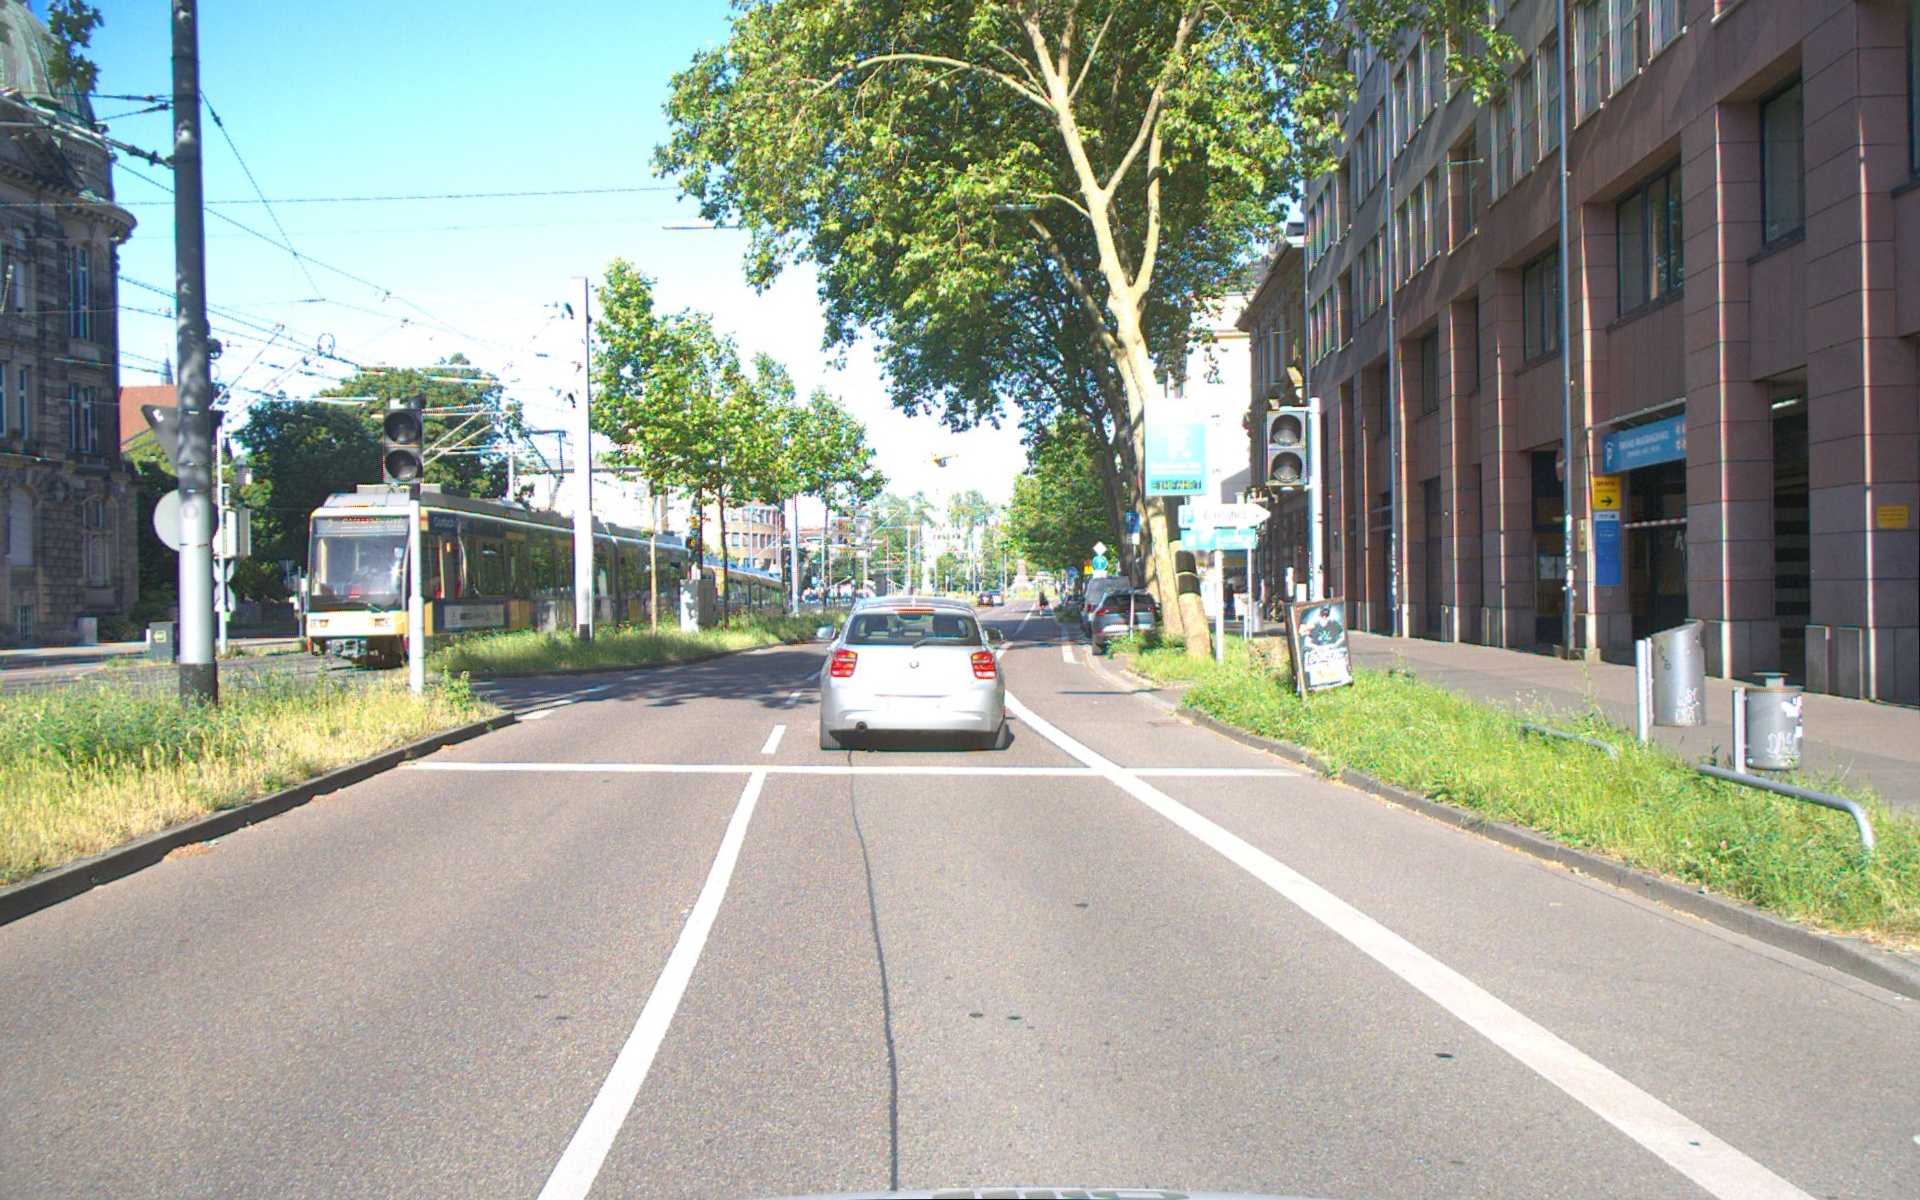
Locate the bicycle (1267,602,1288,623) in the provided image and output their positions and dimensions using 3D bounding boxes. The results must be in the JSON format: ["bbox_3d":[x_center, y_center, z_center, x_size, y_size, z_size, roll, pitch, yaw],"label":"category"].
[{"bbox_3d":[12.490,0.500,65.141,0.537,0.787,1.663,-2,0,3],"label":"bicycle"}]

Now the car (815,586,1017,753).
[{"bbox_3d":[-0.434,0.613,16.626,1.761,1.439,3.999,1,0,-2],"label":"car"}]

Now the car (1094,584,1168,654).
[{"bbox_3d":[4.112,0.438,40.197,1.633,1.598,4.282,1,0,4],"label":"car"}]

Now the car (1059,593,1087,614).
[{"bbox_3d":[8.367,0.244,123.122,1.996,1.535,4.595,0,0,3],"label":"car"}]

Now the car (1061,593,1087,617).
[{"bbox_3d":[7.962,0.339,115.539,1.659,1.528,3.803,-3,0,3],"label":"car"}]

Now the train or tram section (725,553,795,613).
[{"bbox_3d":[-12.456,-1.076,104.025,2.900,3.544,11.287,1,0,0],"label":"train or tram section"}]

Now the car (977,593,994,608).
[{"bbox_3d":[2.664,0.052,171.701,1.691,1.496,4.410,0,0,0],"label":"car"}]

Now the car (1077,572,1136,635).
[{"bbox_3d":[4.989,0.115,56.856,1.817,2.049,4.725,1,0,3],"label":"car"}]

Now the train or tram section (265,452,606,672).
[{"bbox_3d":[-10.896,-0.678,36.683,2.868,3.878,14.273,1,0,0],"label":"train or tram section"}]

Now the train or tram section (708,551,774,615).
[{"bbox_3d":[-12.550,-0.978,95.281,2.895,3.544,6.060,1,0,1],"label":"train or tram section"}]

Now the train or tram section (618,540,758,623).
[{"bbox_3d":[-12.961,-0.865,81.636,2.902,3.544,21.222,1,0,1],"label":"train or tram section"}]

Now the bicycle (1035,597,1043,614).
[{"bbox_3d":[5.076,0.342,105.675,0.489,1.107,1.998,1,0,3],"label":"bicycle"}]

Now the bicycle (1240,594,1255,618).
[{"bbox_3d":[12.598,0.264,72.586,0.406,1.015,1.883,0,0,3],"label":"bicycle"}]

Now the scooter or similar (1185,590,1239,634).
[{"bbox_3d":[7.341,0.342,48.139,1.508,1.259,0.449,-1,0,3],"label":"scooter or similar"}]

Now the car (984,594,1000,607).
[{"bbox_3d":[3.489,0.035,179.658,1.610,1.446,4.001,1,0,3],"label":"car"}]

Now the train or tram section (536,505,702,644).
[{"bbox_3d":[-10.662,-0.741,53.094,2.892,3.965,10.803,1,0,1],"label":"train or tram section"}]

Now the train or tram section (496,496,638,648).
[{"bbox_3d":[-10.791,-0.736,45.741,2.894,3.965,3.866,1,0,1],"label":"train or tram section"}]

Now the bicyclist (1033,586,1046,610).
[{"bbox_3d":[5.072,-0.130,105.729,0.769,1.558,0.895,1,0,3],"label":"bicyclist"}]
